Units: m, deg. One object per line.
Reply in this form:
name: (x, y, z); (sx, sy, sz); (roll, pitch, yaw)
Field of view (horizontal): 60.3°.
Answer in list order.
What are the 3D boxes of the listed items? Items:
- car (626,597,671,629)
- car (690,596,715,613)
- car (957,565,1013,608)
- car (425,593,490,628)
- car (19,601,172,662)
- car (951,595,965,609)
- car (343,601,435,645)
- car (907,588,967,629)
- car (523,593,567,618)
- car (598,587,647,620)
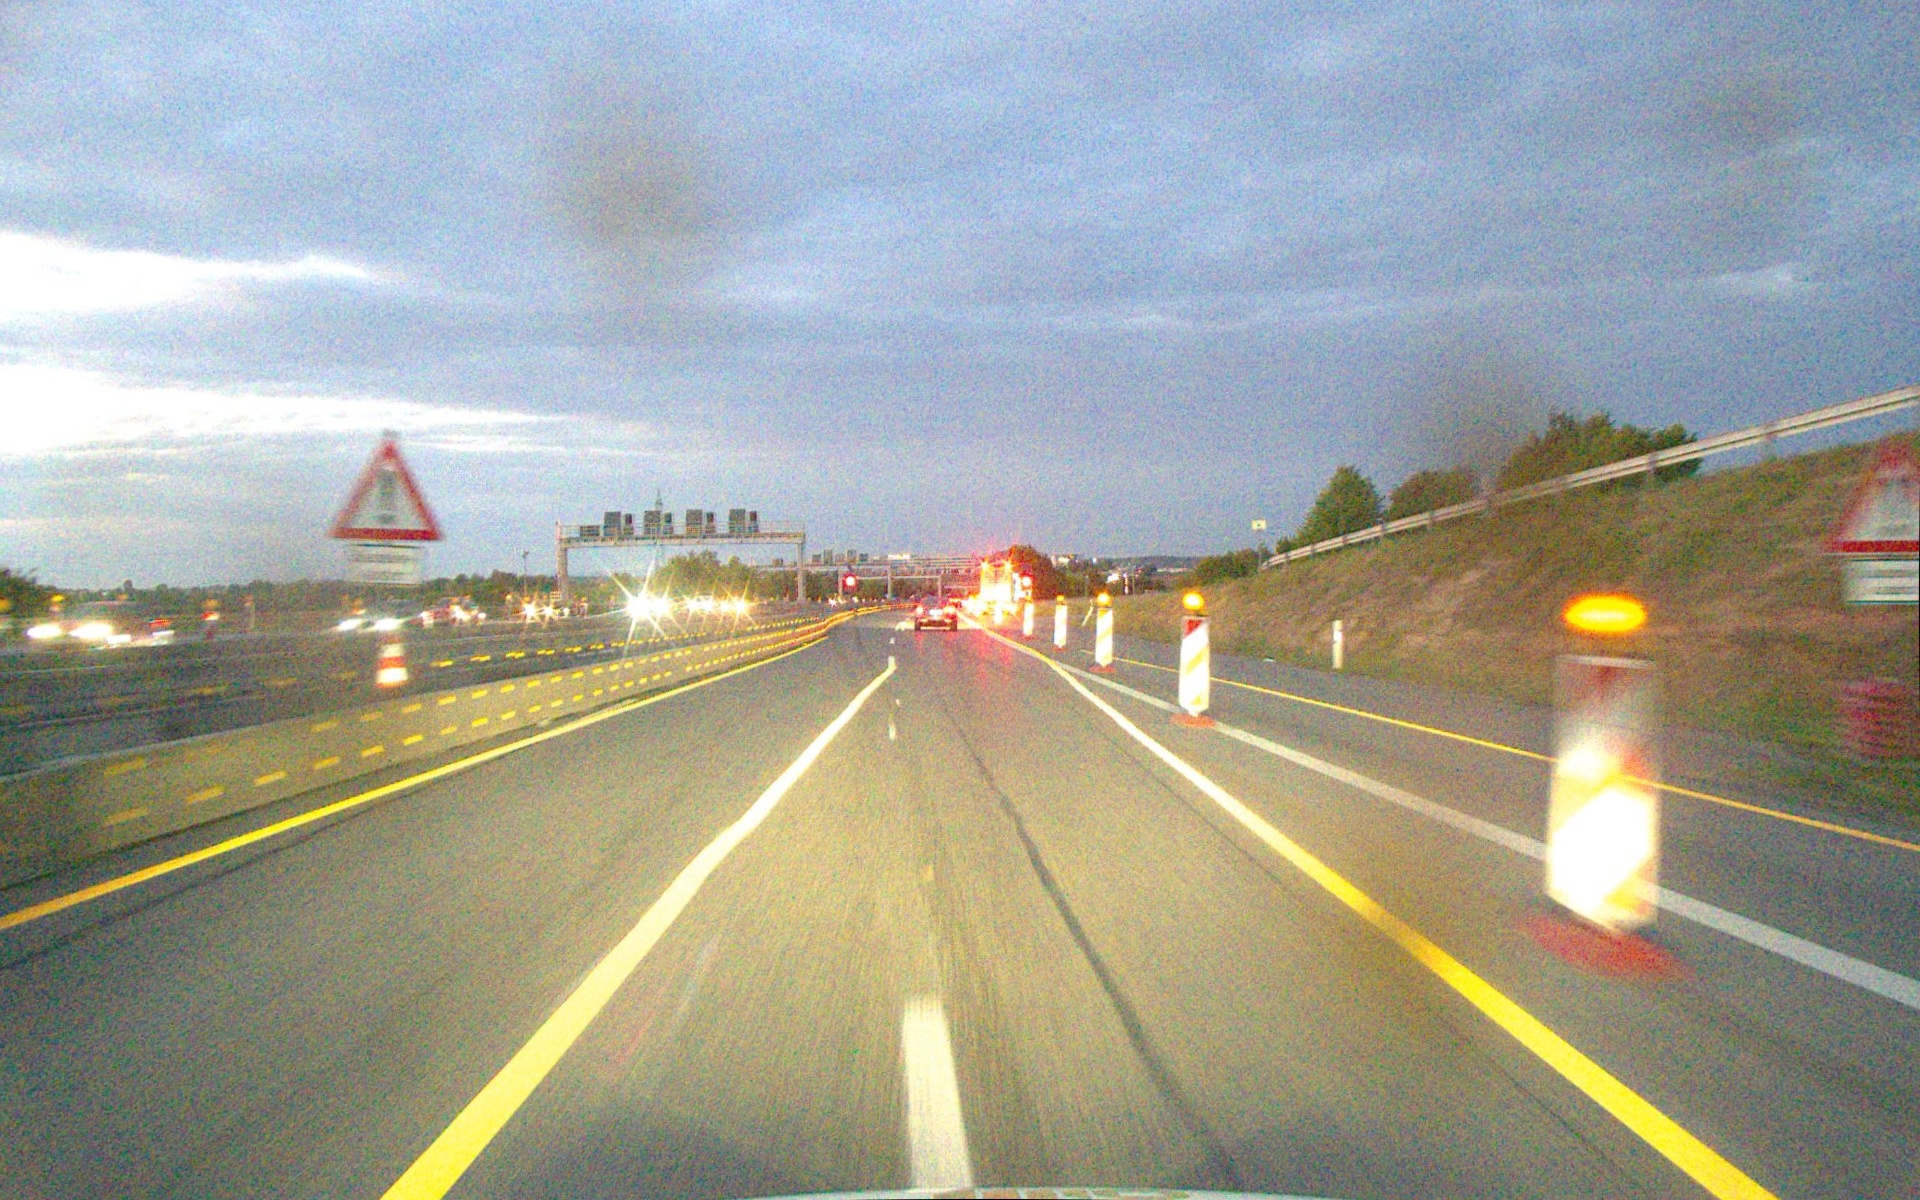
car: (-18.587, 0.755, 98.863); (1.953, 1.860, 3.999); (1, 0, -1)
car: (-22.500, 0.382, 144.873); (1.543, 1.455, 4.424); (1, 0, -1)
car: (2.055, -1.083, 139.820); (3.537, 3.455, 8.000); (1, 0, -8)
car: (-23.509, 0.479, 77.465); (1.727, 1.575, 4.424); (1, 0, -1)
car: (-22.927, 0.800, 44.051); (1.953, 1.489, 4.133); (1, 0, -1)
car: (-0.320, 0.249, 250.315); (1.953, 2.049, 3.999); (1, 0, -1)
car: (-20.502, 0.793, 59.539); (1.727, 1.489, 4.689); (1, 0, -1)
car: (-1.026, 0.360, 71.304); (2.221, 1.649, 3.995); (1, 0, -6)
car: (-26.678, 0.352, 106.495); (1.727, 1.575, 4.424); (1, 0, -1)
car: (-18.726, 0.185, 91.949); (1.953, 1.744, 3.999); (1, 0, -1)
